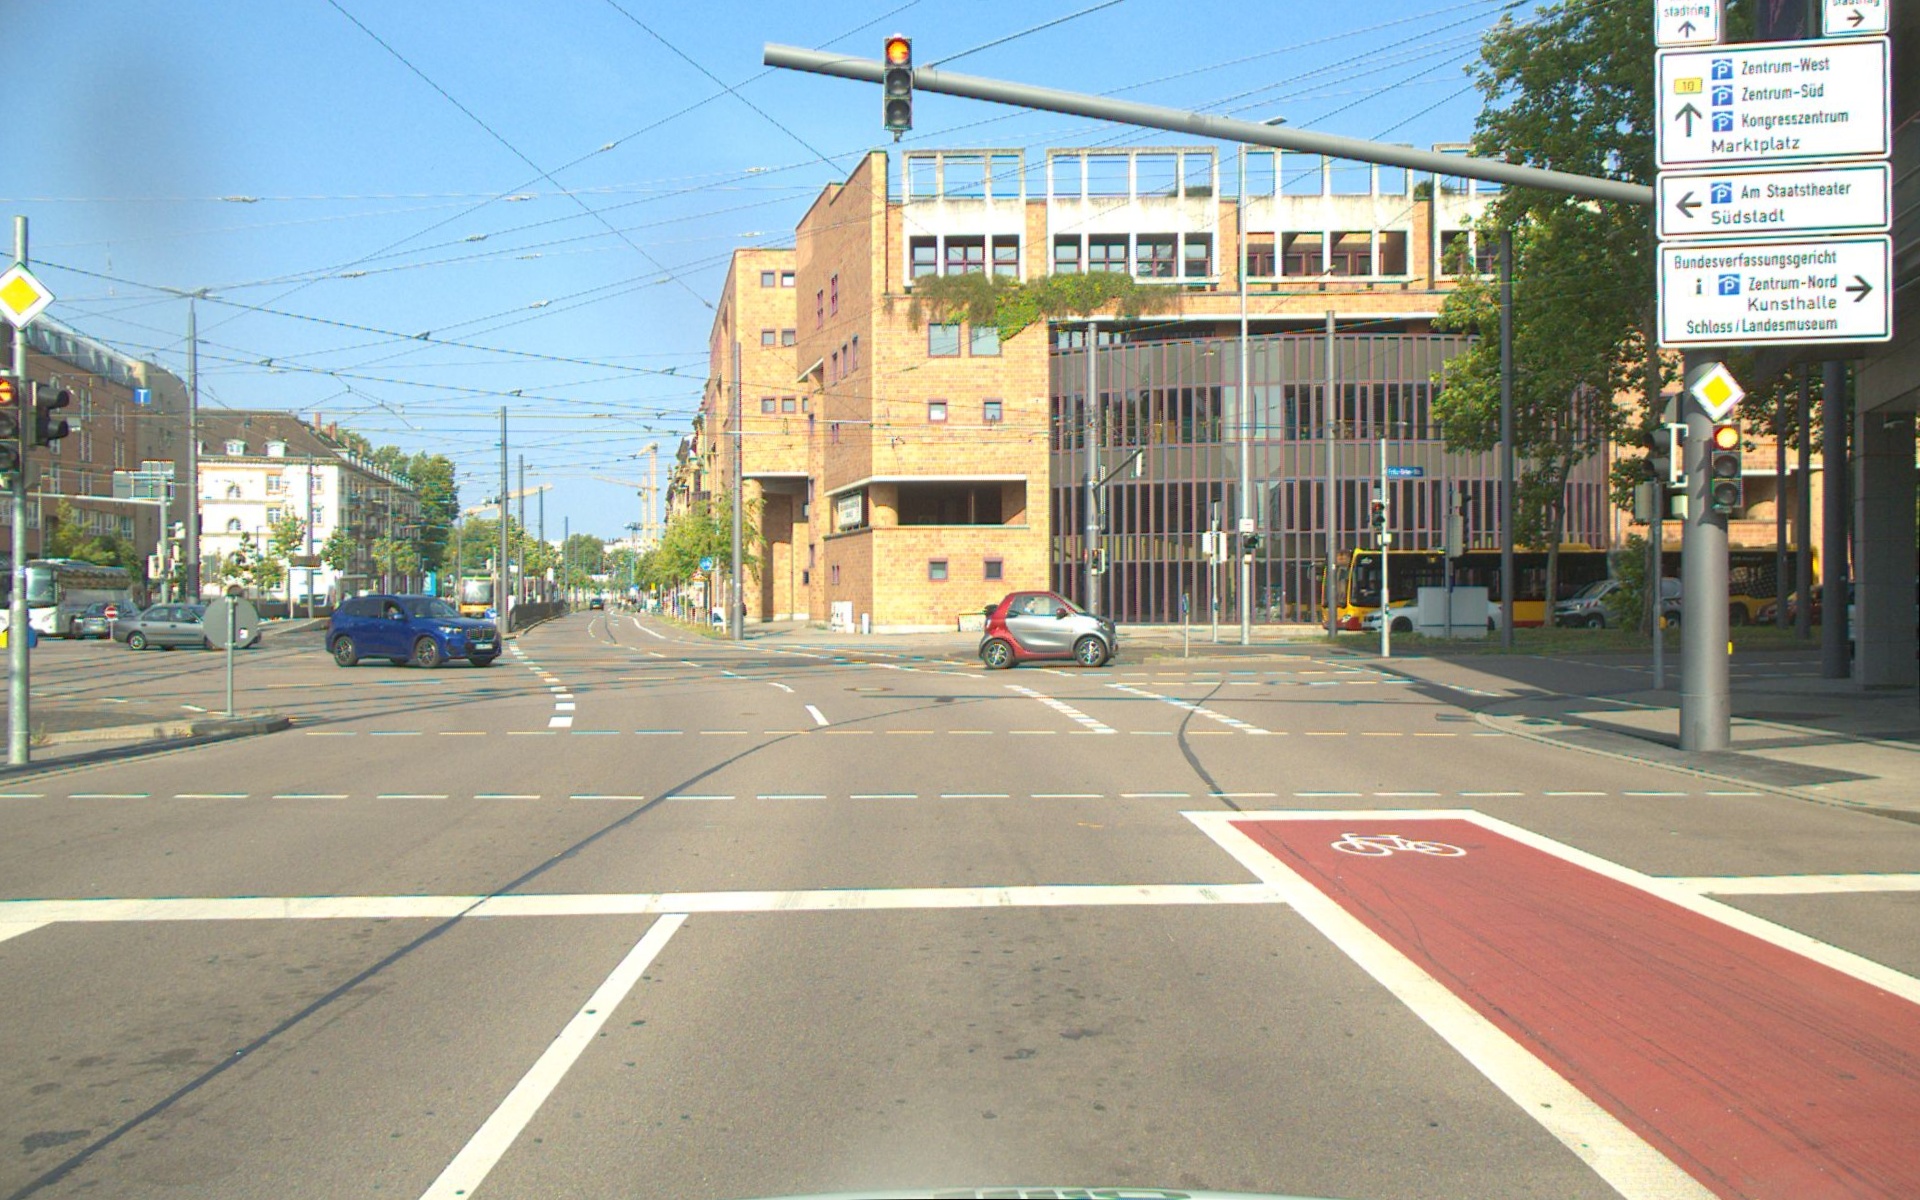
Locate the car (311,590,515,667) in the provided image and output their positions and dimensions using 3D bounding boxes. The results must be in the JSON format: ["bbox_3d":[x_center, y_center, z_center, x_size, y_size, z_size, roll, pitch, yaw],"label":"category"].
[{"bbox_3d":[-12.533,0.676,37.905,4.313,1.664,1.990,-1,-2,26],"label":"car"}]

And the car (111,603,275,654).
[{"bbox_3d":[-23.663,0.890,51.158,4.121,1.513,1.999,-1,-1,-1],"label":"car"}]

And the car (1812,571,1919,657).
[{"bbox_3d":[20.129,0.253,34.268,4.300,1.663,1.686,-1,2,-11],"label":"car"}]

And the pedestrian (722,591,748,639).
[{"bbox_3d":[-9.585,0.629,70.510,0.823,2.049,0.811,0,0,14],"label":"pedestrian"}]

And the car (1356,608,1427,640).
[{"bbox_3d":[13.626,0.756,52.265,1.912,0.975,1.093,0,0,-2],"label":"car"}]

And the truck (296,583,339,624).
[{"bbox_3d":[-42.943,0.279,110.600,1.959,2.644,4.725,0,-1,-12],"label":"truck"}]

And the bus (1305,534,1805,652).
[{"bbox_3d":[20.746,-0.245,57.628,17.291,3.877,2.858,0,-1,-11],"label":"bus"}]

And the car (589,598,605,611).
[{"bbox_3d":[-48.134,0.567,219.108,2.037,1.569,4.400,0,-1,-13],"label":"car"}]

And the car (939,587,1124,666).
[{"bbox_3d":[1.470,0.529,33.209,3.514,1.518,1.704,-1,0,10],"label":"car"}]

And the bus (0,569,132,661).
[{"bbox_3d":[-42.378,0.792,78.426,2.699,3.990,12.175,0,-1,-13],"label":"bus"}]

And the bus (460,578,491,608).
[{"bbox_3d":[-33.744,-0.487,115.256,1.960,2.049,3.985,0,0,-14],"label":"bus"}]
